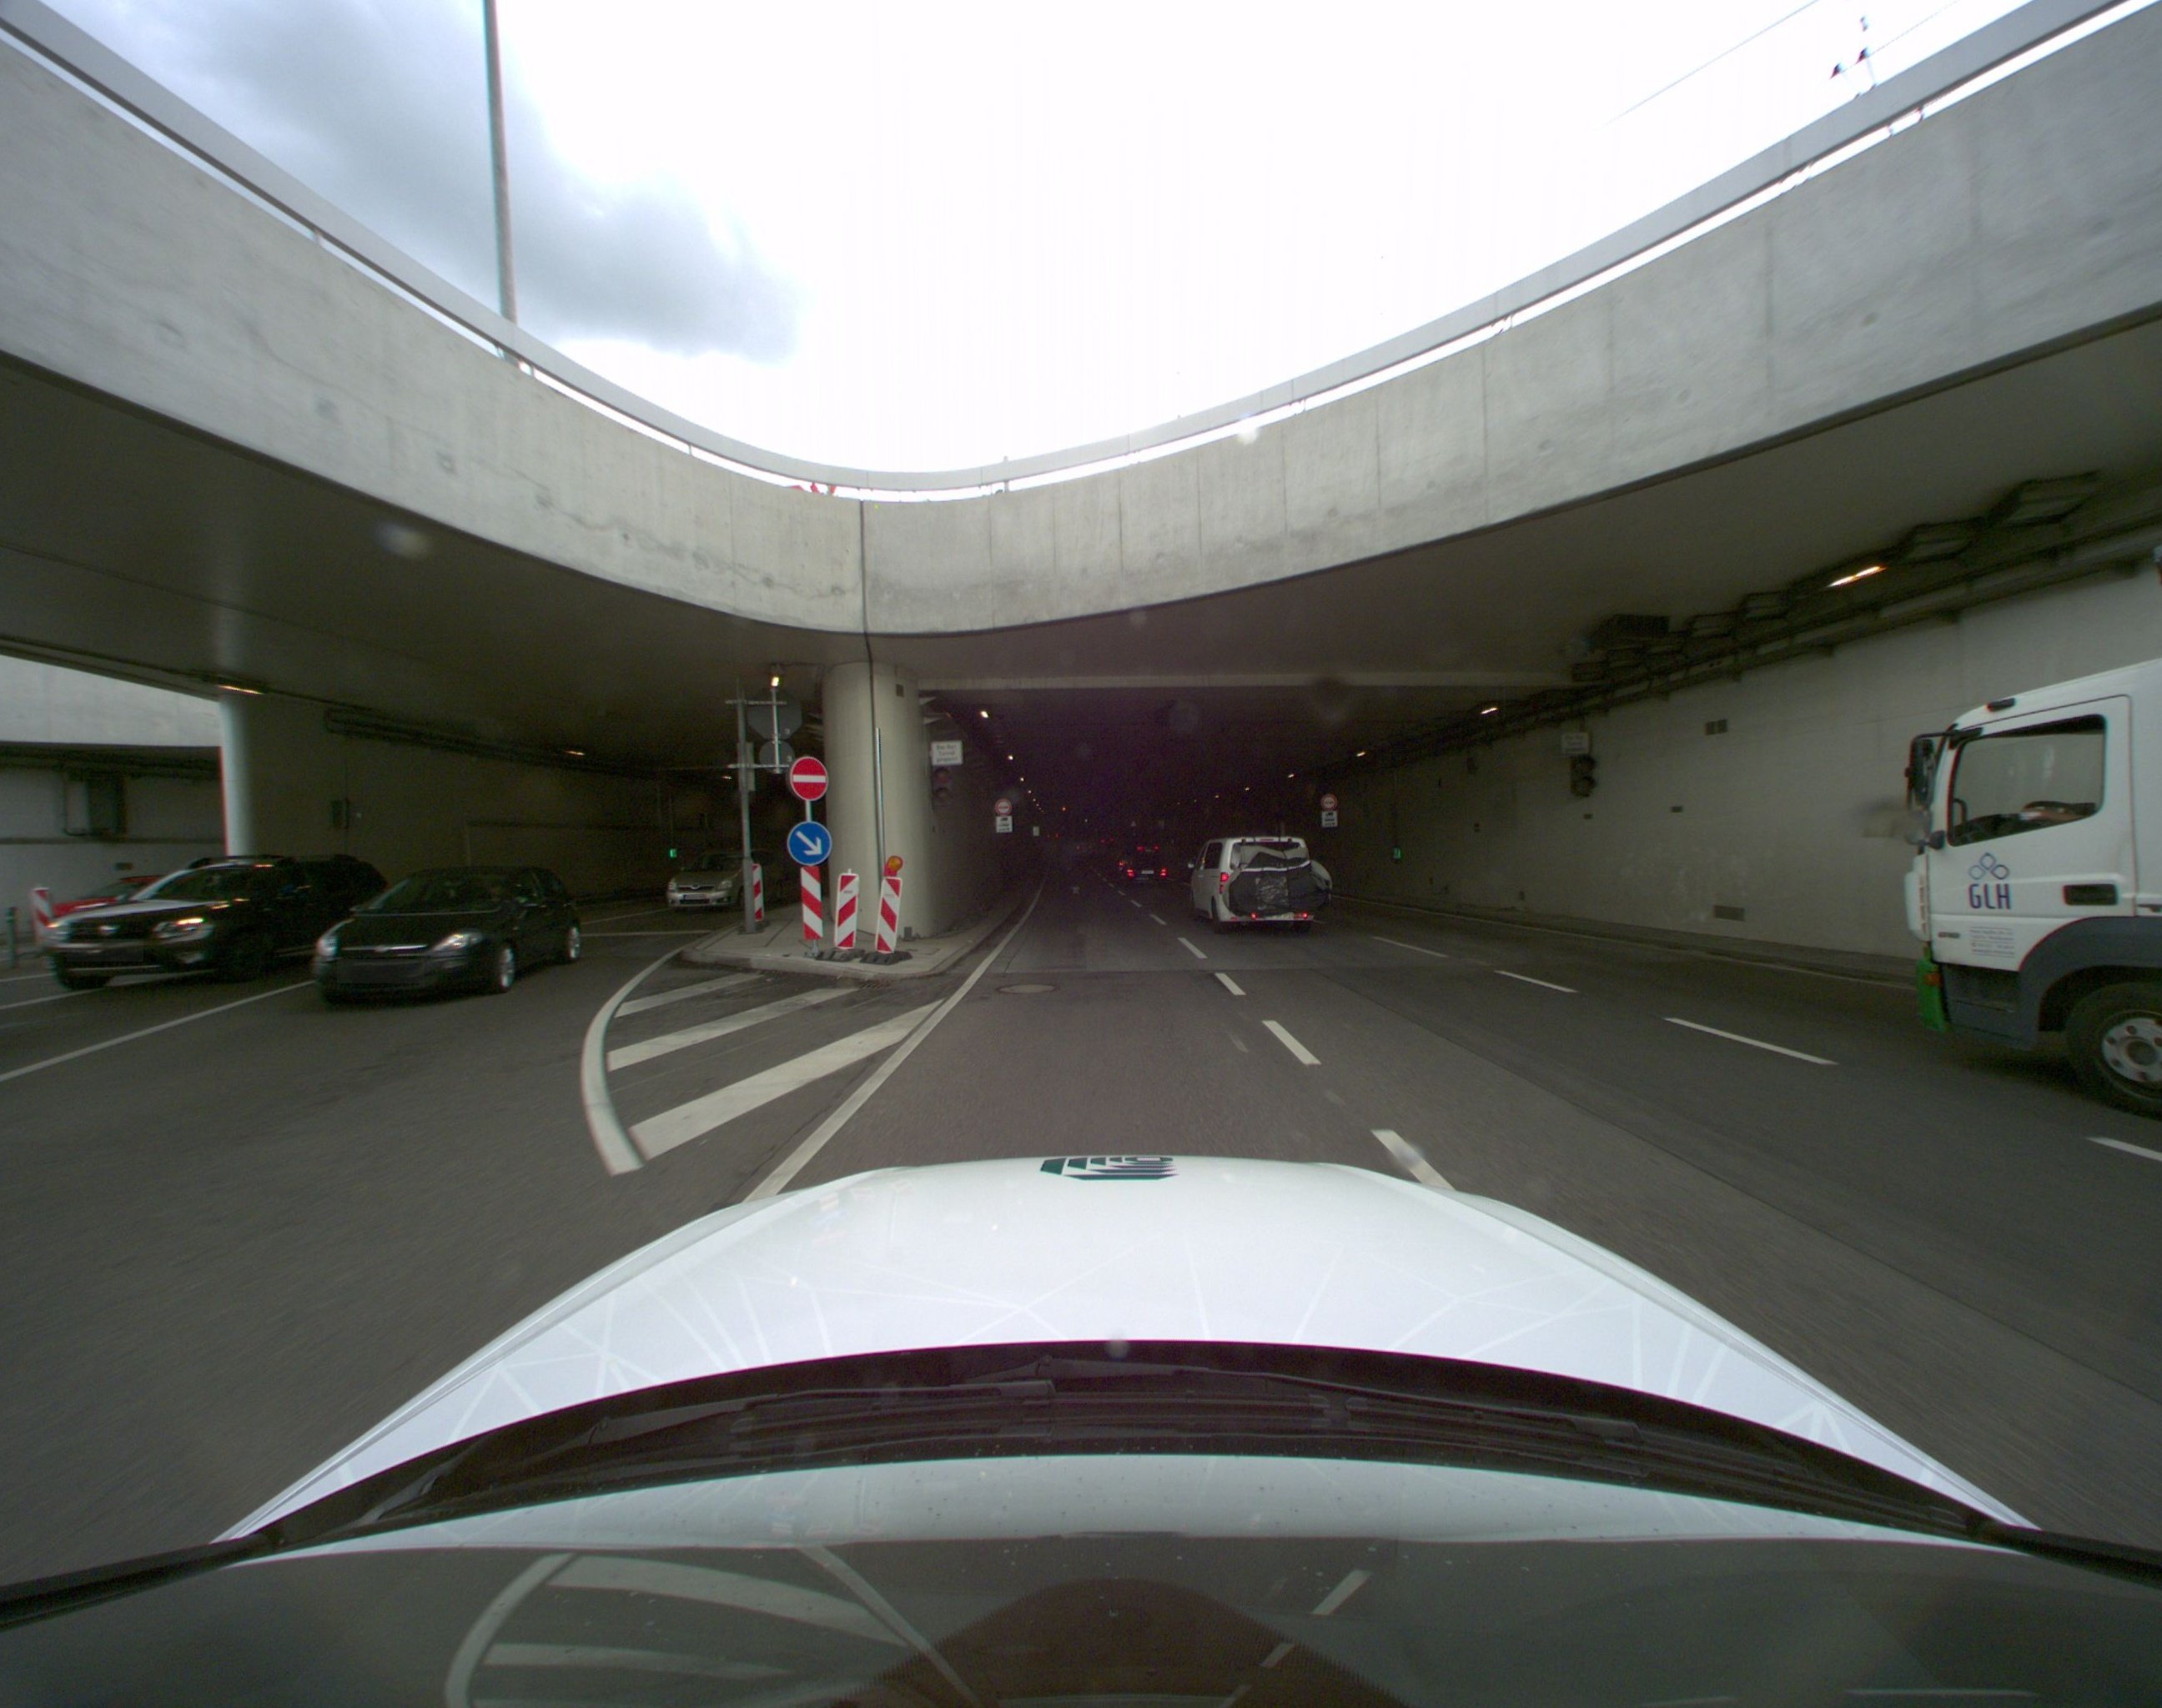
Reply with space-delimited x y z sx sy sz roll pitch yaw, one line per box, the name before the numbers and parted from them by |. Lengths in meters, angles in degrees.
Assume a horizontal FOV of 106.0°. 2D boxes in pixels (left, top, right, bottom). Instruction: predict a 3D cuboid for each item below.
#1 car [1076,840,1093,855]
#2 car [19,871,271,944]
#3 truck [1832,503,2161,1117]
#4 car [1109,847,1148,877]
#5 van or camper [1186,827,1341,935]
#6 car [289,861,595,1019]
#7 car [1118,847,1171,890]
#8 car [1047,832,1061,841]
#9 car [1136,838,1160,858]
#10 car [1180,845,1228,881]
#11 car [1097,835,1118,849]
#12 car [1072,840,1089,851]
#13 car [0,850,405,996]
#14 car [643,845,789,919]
car | 0.304 -0.671 83.070 1.655 1.488 3.565 -1 0 -1
car | -23.401 1.259 20.634 1.640 1.514 4.002 -2 0 2
truck | 6.843 -0.220 2.387 2.639 3.184 7.431 -2 1 2
car | 2.797 0.440 48.377 1.815 1.580 3.996 2 1 -3
van or camper | 3.495 0.469 16.758 1.987 1.845 5.507 0 0 0
car | -7.713 0.881 10.365 1.669 1.441 4.089 -2 1 -18
car | 2.663 0.573 35.072 1.814 1.683 3.997 0 1 -3
car | -4.102 -2.657 124.176 1.509 1.247 3.552 -2 0 -12
car | 5.715 -0.519 70.087 1.655 1.633 3.566 2 1 -1
car | 6.470 0.436 43.209 1.813 1.749 3.998 2 1 -1
car | 3.255 -1.447 100.321 1.988 1.676 4.498 -1 0 -6
car | -0.081 -1.054 98.828 1.661 1.247 3.560 -1 0 -5
car | -12.009 0.778 11.538 1.794 1.599 4.313 -1 1 -10
car | -9.542 0.636 21.784 1.803 1.604 4.785 -2 2 -2
